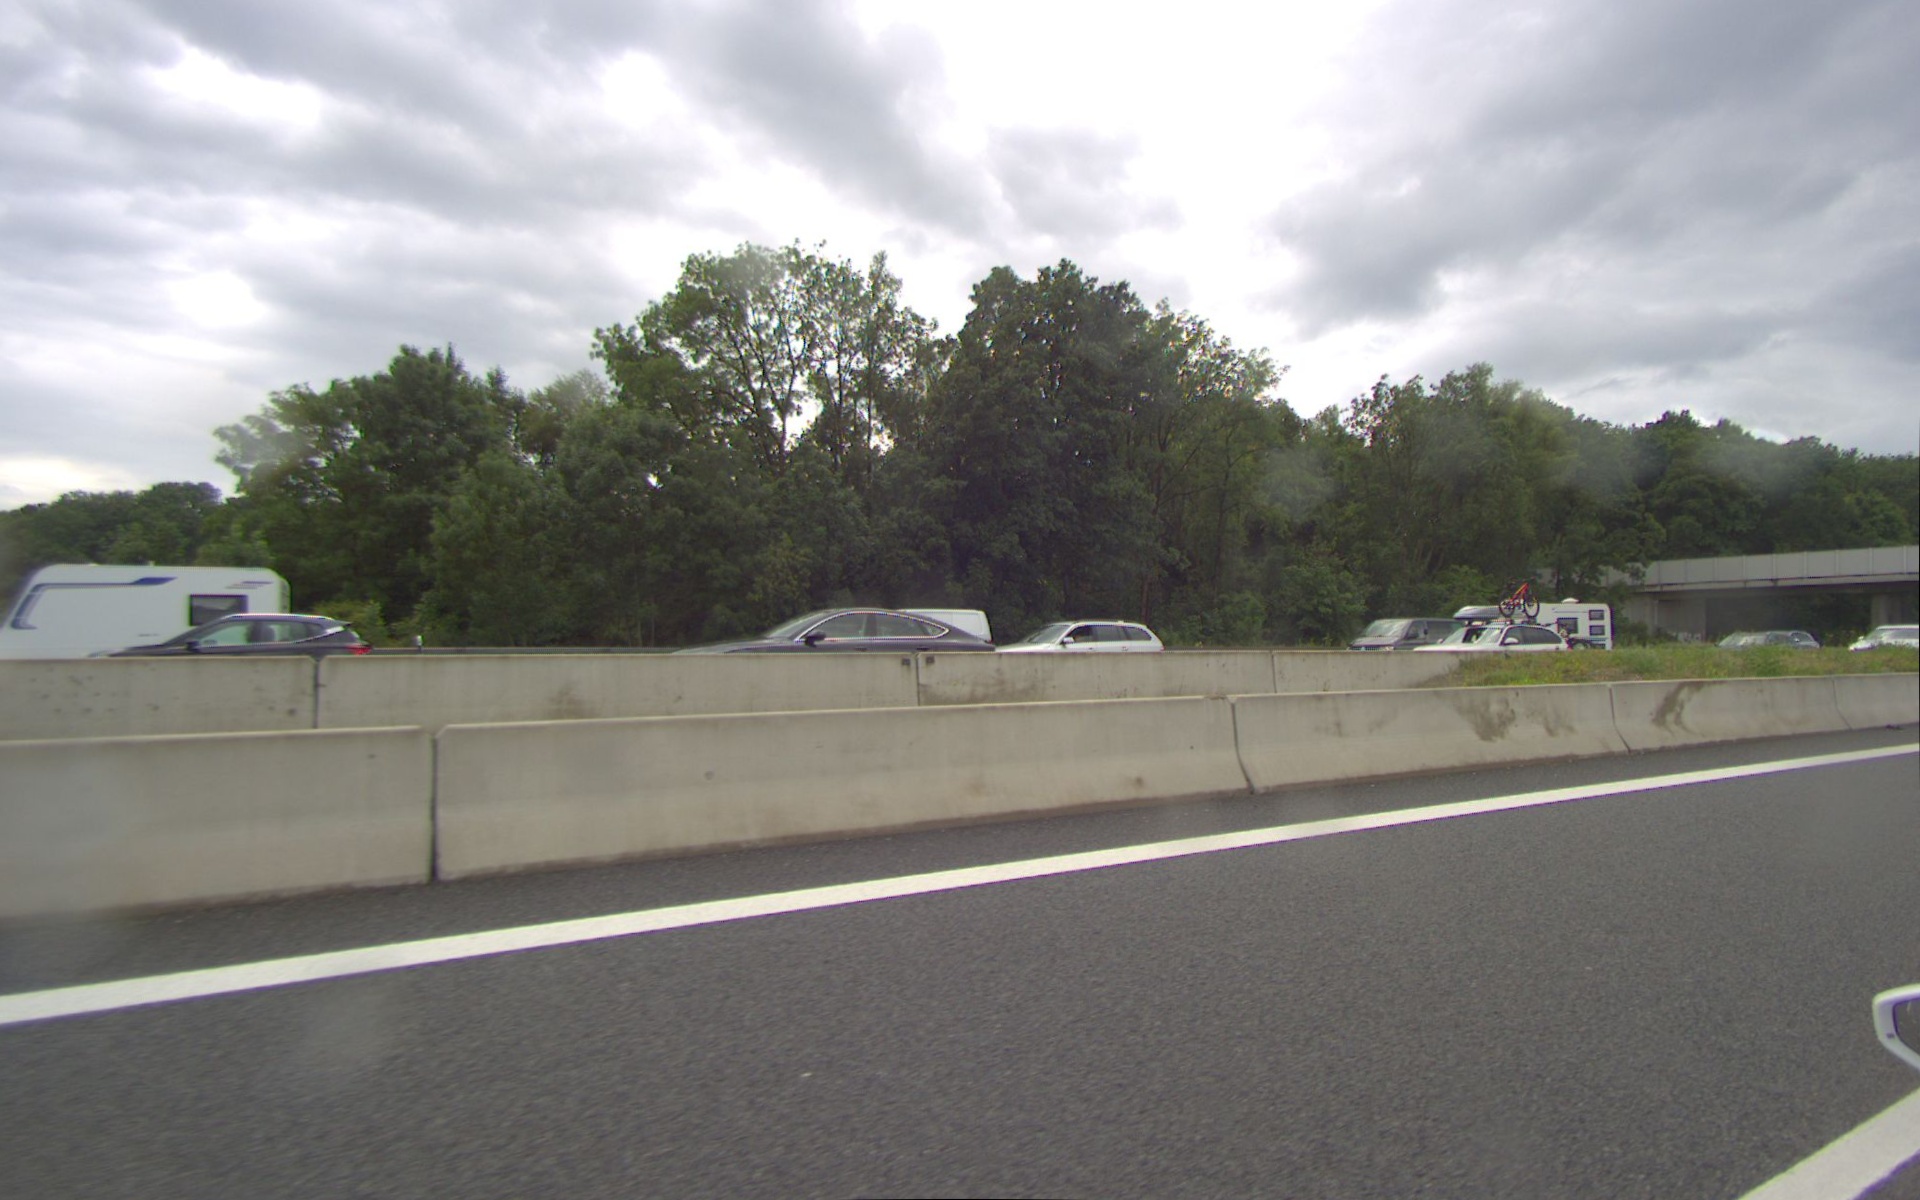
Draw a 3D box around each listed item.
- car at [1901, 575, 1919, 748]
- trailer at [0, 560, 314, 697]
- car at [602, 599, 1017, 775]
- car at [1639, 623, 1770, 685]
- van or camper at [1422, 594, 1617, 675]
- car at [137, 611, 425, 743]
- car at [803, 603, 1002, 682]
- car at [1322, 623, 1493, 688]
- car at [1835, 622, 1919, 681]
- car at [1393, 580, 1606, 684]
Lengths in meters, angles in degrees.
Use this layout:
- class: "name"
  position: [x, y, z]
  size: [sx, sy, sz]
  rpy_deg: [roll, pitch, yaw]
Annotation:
- class: "car"
  position: [12.855, 0.707, 11.308]
  size: [5.103, 1.845, 1.983]
  rpy_deg: [1, 0, -31]
- class: "trailer"
  position: [-15.988, 0.522, 19.428]
  size: [5.716, 2.406, 2.231]
  rpy_deg: [1, 0, -30]
- class: "car"
  position: [-1.930, 1.029, 13.491]
  size: [5.164, 1.978, 1.984]
  rpy_deg: [1, 0, -30]
- class: "car"
  position: [26.338, 1.855, 35.490]
  size: [4.732, 2.040, 2.034]
  rpy_deg: [1, 0, -30]
- class: "van or camper"
  position: [20.740, 1.228, 37.081]
  size: [8.029, 2.743, 2.593]
  rpy_deg: [1, 0, -30]
- class: "car"
  position: [-11.592, 1.255, 17.494]
  size: [3.953, 2.040, 1.808]
  rpy_deg: [1, 0, -30]
- class: "car"
  position: [-1.535, 1.132, 27.764]
  size: [5.164, 1.978, 1.984]
  rpy_deg: [1, 0, -30]
- class: "car"
  position: [15.102, 1.794, 33.832]
  size: [5.442, 1.978, 2.593]
  rpy_deg: [1, 0, -30]
- class: "car"
  position: [32.654, 1.728, 34.828]
  size: [5.164, 1.874, 1.984]
  rpy_deg: [1, 0, -30]
- class: "car"
  position: [12.731, 0.721, 23.598]
  size: [5.227, 2.210, 1.984]
  rpy_deg: [1, 0, -30]
